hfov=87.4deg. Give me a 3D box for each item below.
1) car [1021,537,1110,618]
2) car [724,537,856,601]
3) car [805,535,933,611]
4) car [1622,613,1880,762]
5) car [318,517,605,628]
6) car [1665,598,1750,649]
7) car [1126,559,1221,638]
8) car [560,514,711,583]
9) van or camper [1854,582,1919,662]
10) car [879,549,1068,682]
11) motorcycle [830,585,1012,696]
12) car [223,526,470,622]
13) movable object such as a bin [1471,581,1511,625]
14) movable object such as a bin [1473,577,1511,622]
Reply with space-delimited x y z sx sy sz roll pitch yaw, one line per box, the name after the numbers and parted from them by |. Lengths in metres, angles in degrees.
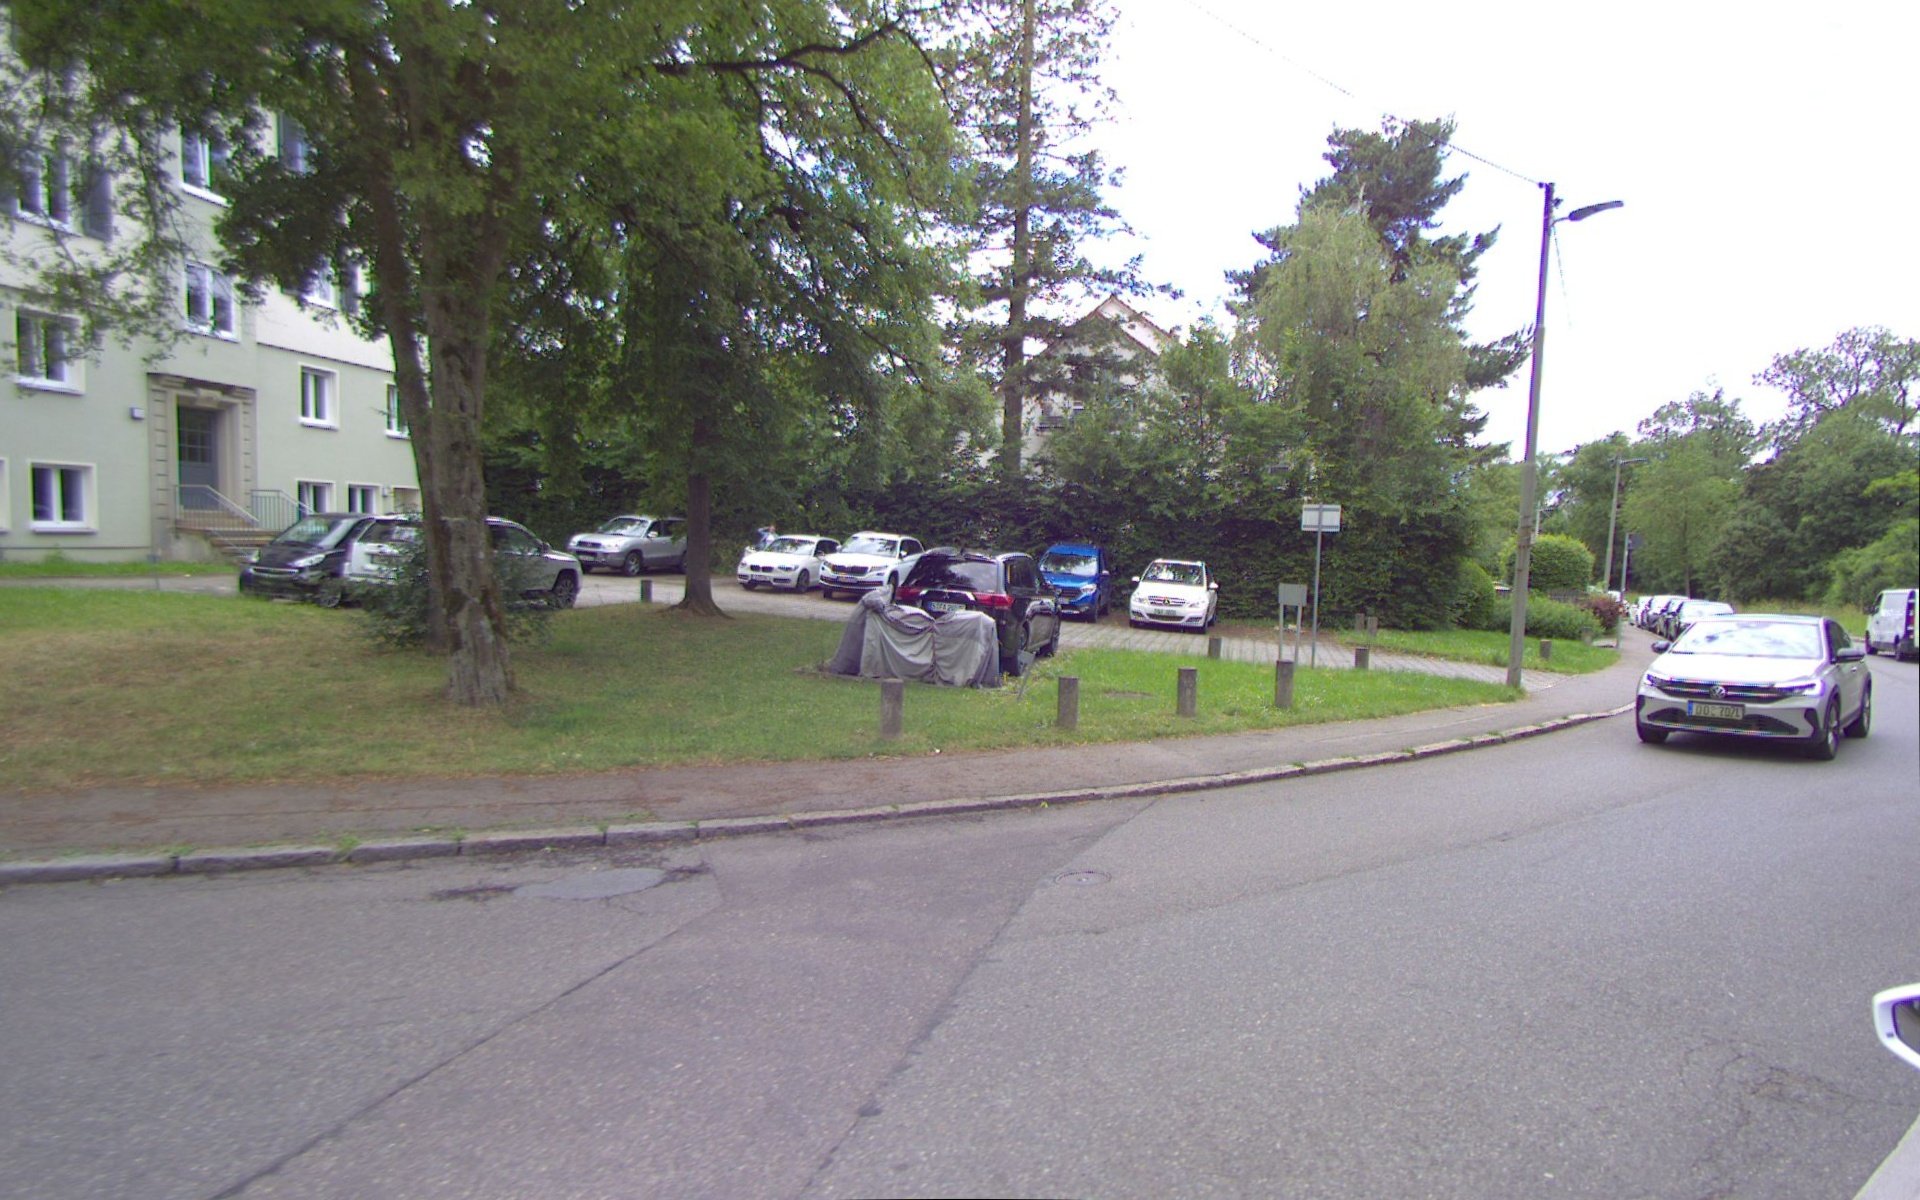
2.698 -0.624 24.955 1.712 1.756 4.265 3 4 11 | car
-4.482 -0.877 27.147 1.842 1.513 4.199 4 4 15 | car
-2.241 -0.766 26.034 1.968 1.700 4.498 3 4 12 | car
9.497 0.901 11.950 4.047 1.476 1.709 1 -1 -41 | car
-8.280 -0.537 17.238 1.917 1.554 4.591 4 4 13 | car
24.026 0.696 32.418 1.710 1.437 4.493 3 2 31 | car
5.193 -0.108 24.032 1.712 1.615 4.271 4 3 17 | car
-9.142 -1.463 28.759 1.712 1.754 4.626 4 4 18 | car
26.527 0.572 27.692 1.991 1.983 4.882 4 3 33 | van or camper
0.373 0.122 15.109 1.712 1.615 4.334 4 3 15 | car
-0.476 0.467 12.375 2.025 1.167 0.865 4 3 16 | motorcycle
-10.444 -0.501 17.395 1.478 1.418 3.602 4 4 15 | car
18.129 0.085 34.303 1.097 1.382 1.391 4 4 29 | movable object such as a bin
18.880 -0.048 35.618 1.077 1.487 1.450 4 4 29 | movable object such as a bin
